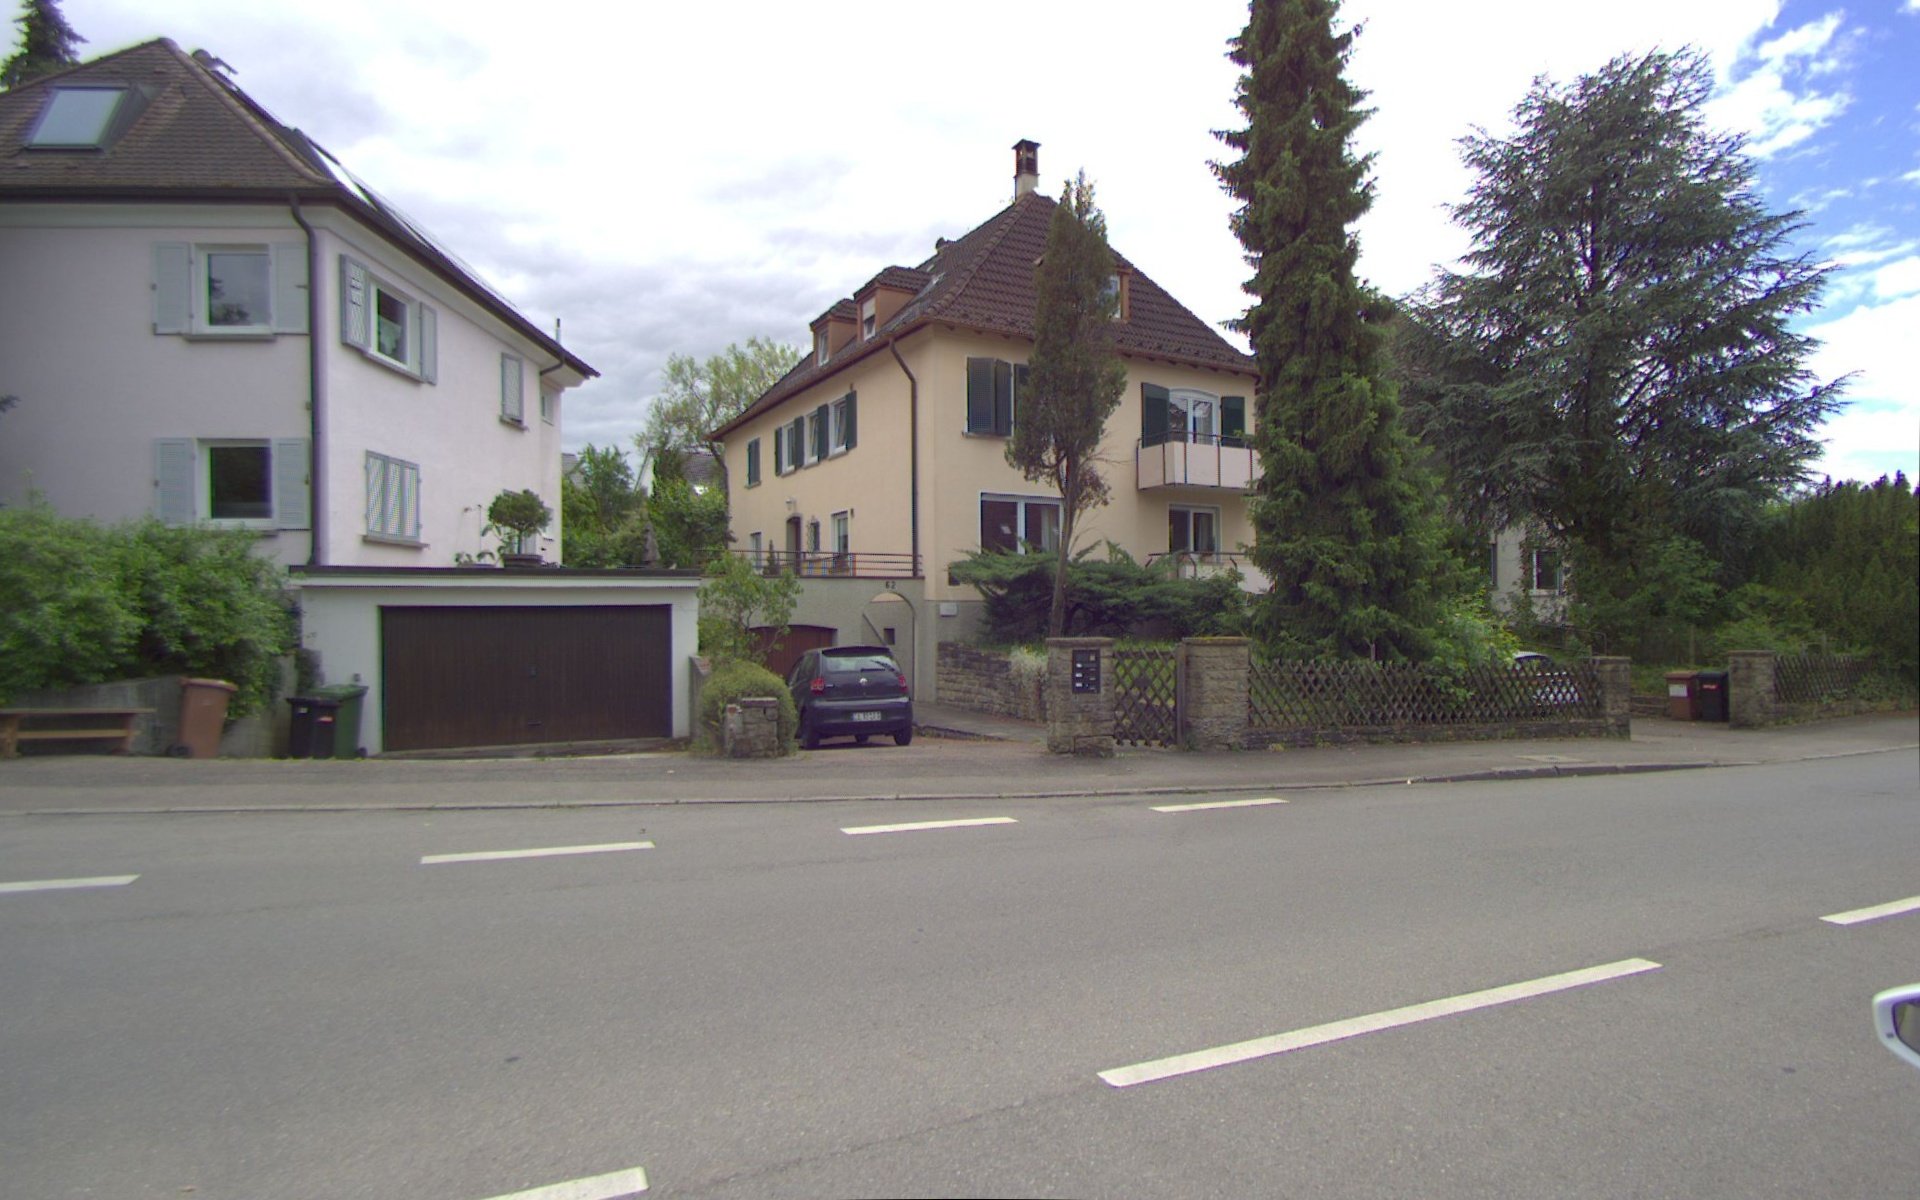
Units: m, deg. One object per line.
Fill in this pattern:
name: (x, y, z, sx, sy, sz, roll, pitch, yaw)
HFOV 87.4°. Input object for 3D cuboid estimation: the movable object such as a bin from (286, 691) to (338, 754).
movable object such as a bin: (-8.497, 1.600, 13.184, 0.539, 0.781, 0.315, 1, -1, -30)

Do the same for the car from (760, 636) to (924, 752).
car: (-1.976, 1.491, 15.867, 1.801, 1.556, 3.352, -1, -6, -21)

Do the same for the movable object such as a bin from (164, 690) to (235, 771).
movable object such as a bin: (-8.453, 1.440, 11.180, 0.581, 0.846, 0.315, 1, -1, -30)

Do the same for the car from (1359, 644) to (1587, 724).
car: (10.592, 1.730, 21.048, 1.895, 1.438, 3.870, -1, -4, -24)
